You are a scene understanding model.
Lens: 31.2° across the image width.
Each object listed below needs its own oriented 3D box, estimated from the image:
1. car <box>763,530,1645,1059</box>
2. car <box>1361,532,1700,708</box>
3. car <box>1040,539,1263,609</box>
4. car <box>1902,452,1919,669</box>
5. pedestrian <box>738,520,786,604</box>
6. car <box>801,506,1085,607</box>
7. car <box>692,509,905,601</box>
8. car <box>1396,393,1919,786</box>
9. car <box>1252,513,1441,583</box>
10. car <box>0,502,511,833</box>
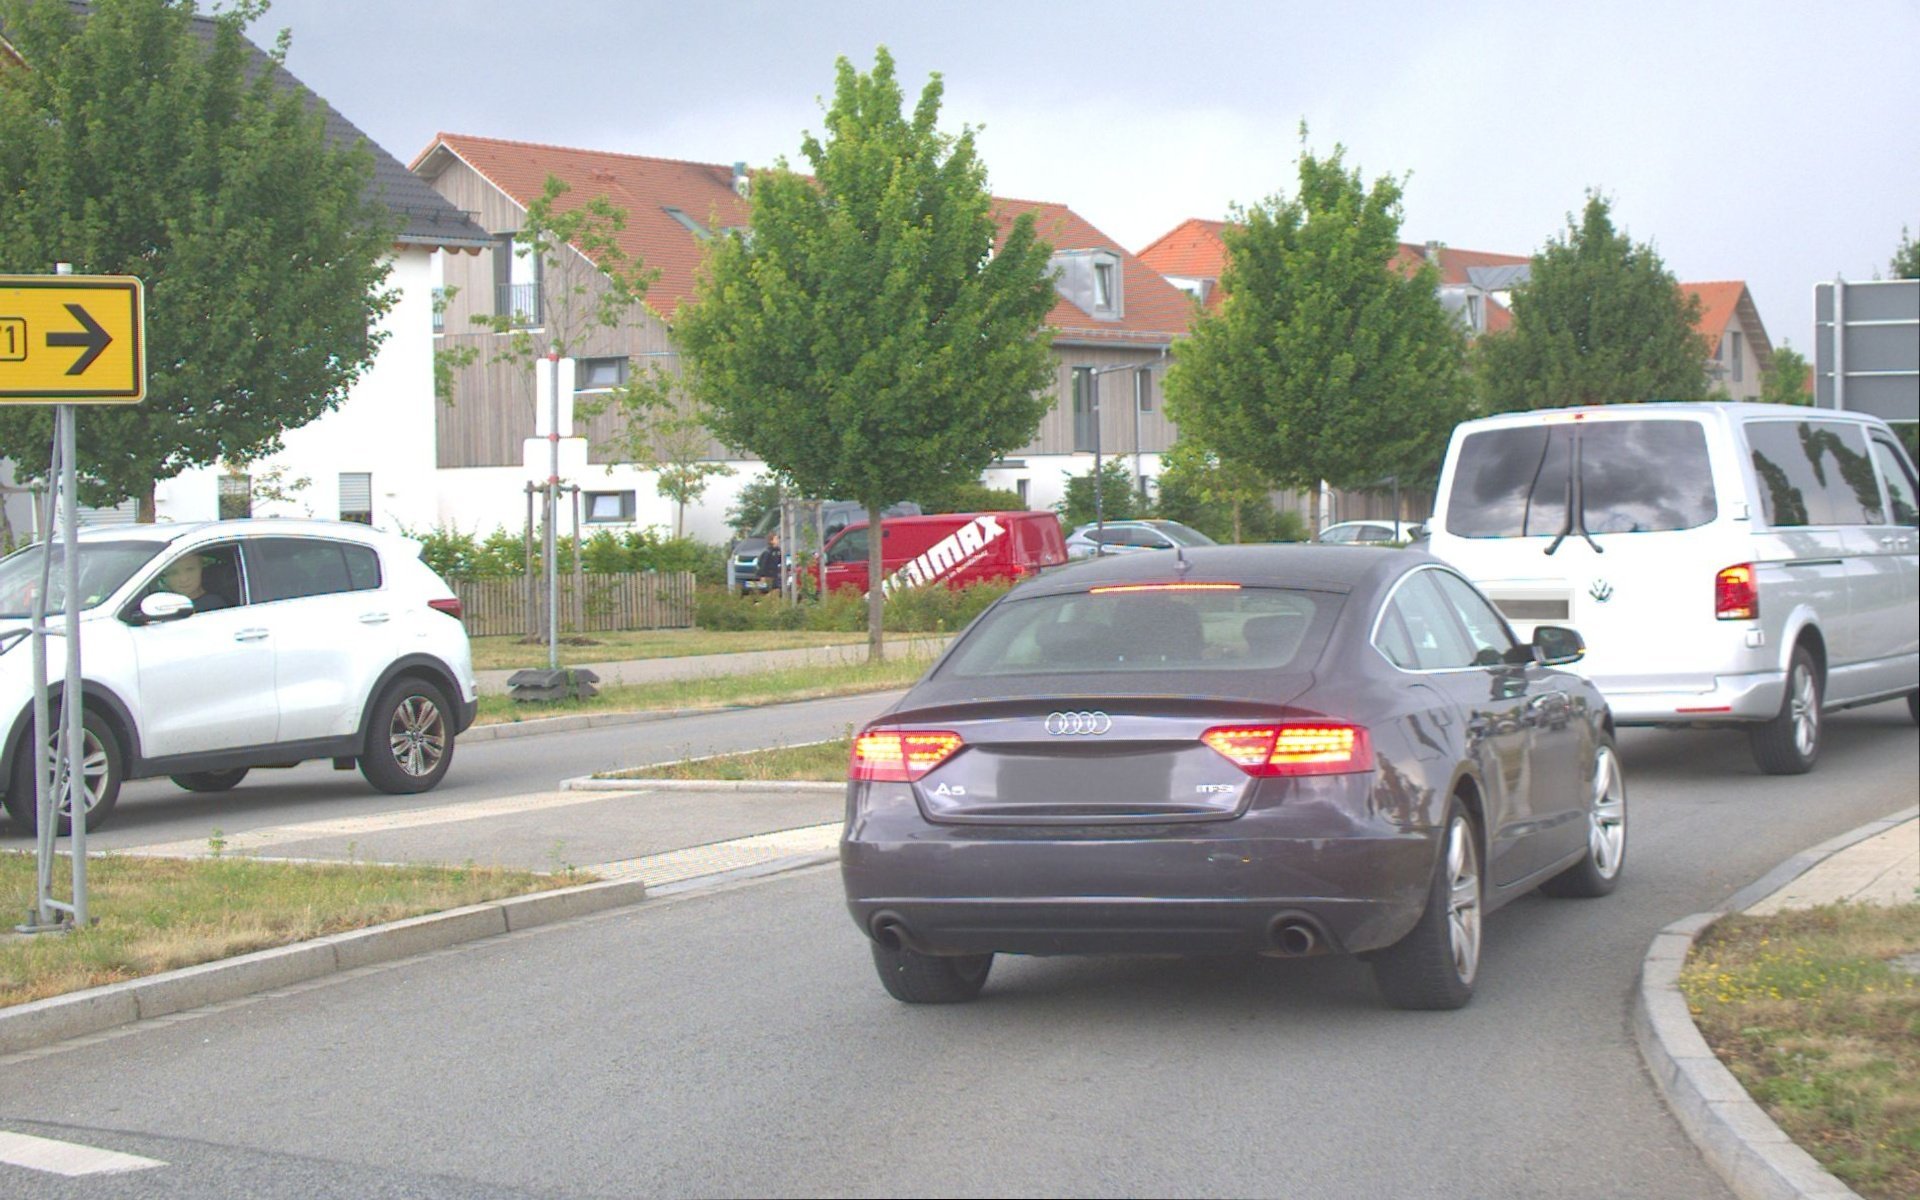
[{"bbox_3d":[1.014,0.491,11.372,1.786,1.387,4.128,-1,1,21],"label":"car"},{"bbox_3d":[6.401,0.199,38.175,1.997,1.698,4.626,5,3,32],"label":"car"},{"bbox_3d":[3.711,-0.507,66.800,3.920,1.310,1.840,0,1,28],"label":"car"},{"bbox_3d":[8.778,-0.333,26.885,1.779,1.612,3.994,0,1,30],"label":"car"},{"bbox_3d":[-3.717,-0.710,64.464,0.659,1.553,0.582,0,2,31],"label":"pedestrian"},{"bbox_3d":[-0.302,-0.764,59.257,4.539,1.674,1.996,0,1,33],"label":"car"},{"bbox_3d":[-3.227,-0.932,69.534,1.997,1.766,4.457,0,2,35],"label":"car"},{"bbox_3d":[4.043,-0.101,19.052,1.870,1.927,3.994,0,1,29],"label":"car"},{"bbox_3d":[8.432,-1.133,75.056,3.735,1.477,1.684,0,2,27],"label":"car"},{"bbox_3d":[-4.690,0.327,19.444,1.712,1.620,4.442,-1,2,34],"label":"car"}]
